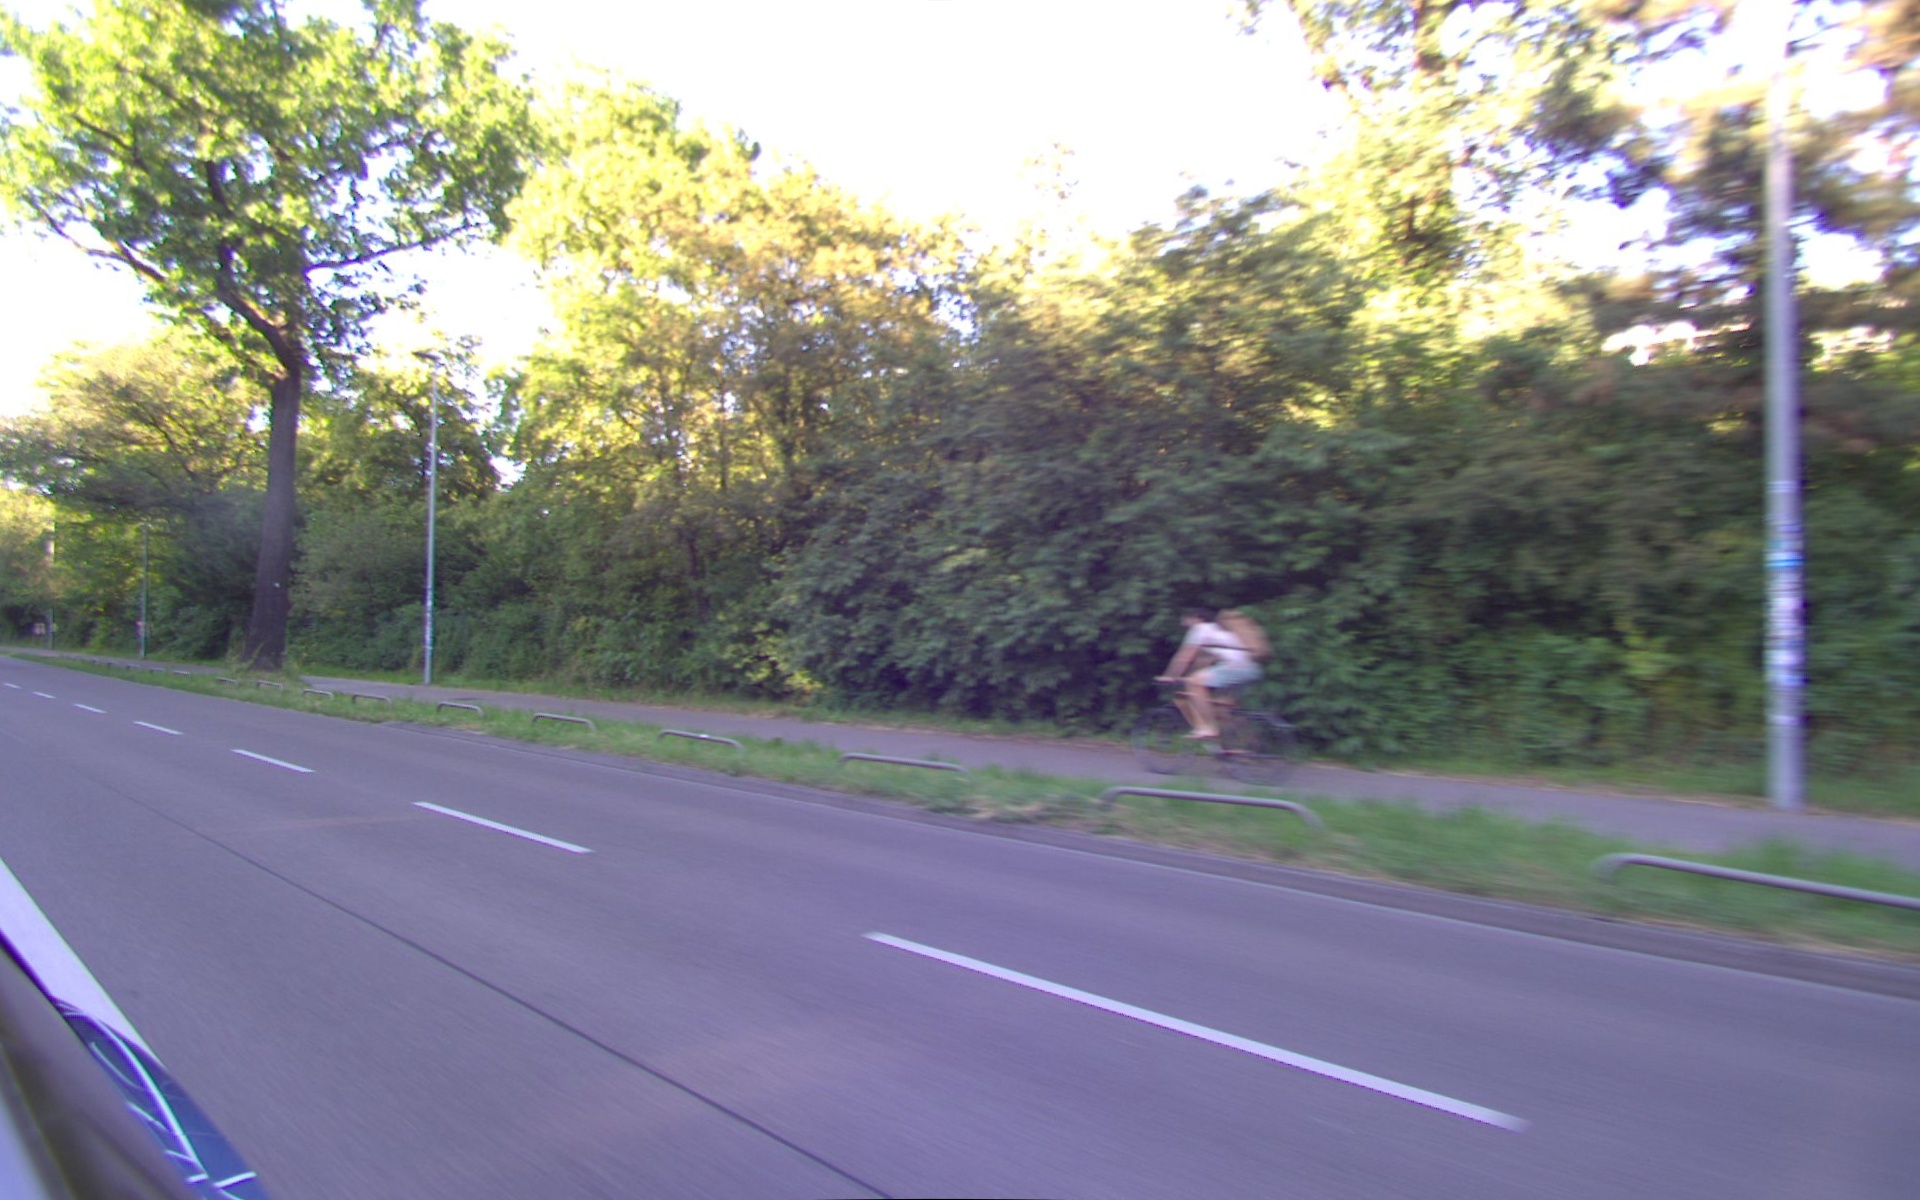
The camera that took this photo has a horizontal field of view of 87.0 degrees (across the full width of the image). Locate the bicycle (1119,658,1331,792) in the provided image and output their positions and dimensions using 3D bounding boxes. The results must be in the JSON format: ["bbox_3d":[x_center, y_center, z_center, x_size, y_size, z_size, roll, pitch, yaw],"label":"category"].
[{"bbox_3d":[2.667,1.212,10.339,1.992,1.156,0.705,-1,0,41],"label":"bicycle"}]

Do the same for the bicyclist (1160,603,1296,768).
[{"bbox_3d":[2.716,0.821,10.301,1.142,1.570,0.705,-1,0,41],"label":"bicyclist"}]
